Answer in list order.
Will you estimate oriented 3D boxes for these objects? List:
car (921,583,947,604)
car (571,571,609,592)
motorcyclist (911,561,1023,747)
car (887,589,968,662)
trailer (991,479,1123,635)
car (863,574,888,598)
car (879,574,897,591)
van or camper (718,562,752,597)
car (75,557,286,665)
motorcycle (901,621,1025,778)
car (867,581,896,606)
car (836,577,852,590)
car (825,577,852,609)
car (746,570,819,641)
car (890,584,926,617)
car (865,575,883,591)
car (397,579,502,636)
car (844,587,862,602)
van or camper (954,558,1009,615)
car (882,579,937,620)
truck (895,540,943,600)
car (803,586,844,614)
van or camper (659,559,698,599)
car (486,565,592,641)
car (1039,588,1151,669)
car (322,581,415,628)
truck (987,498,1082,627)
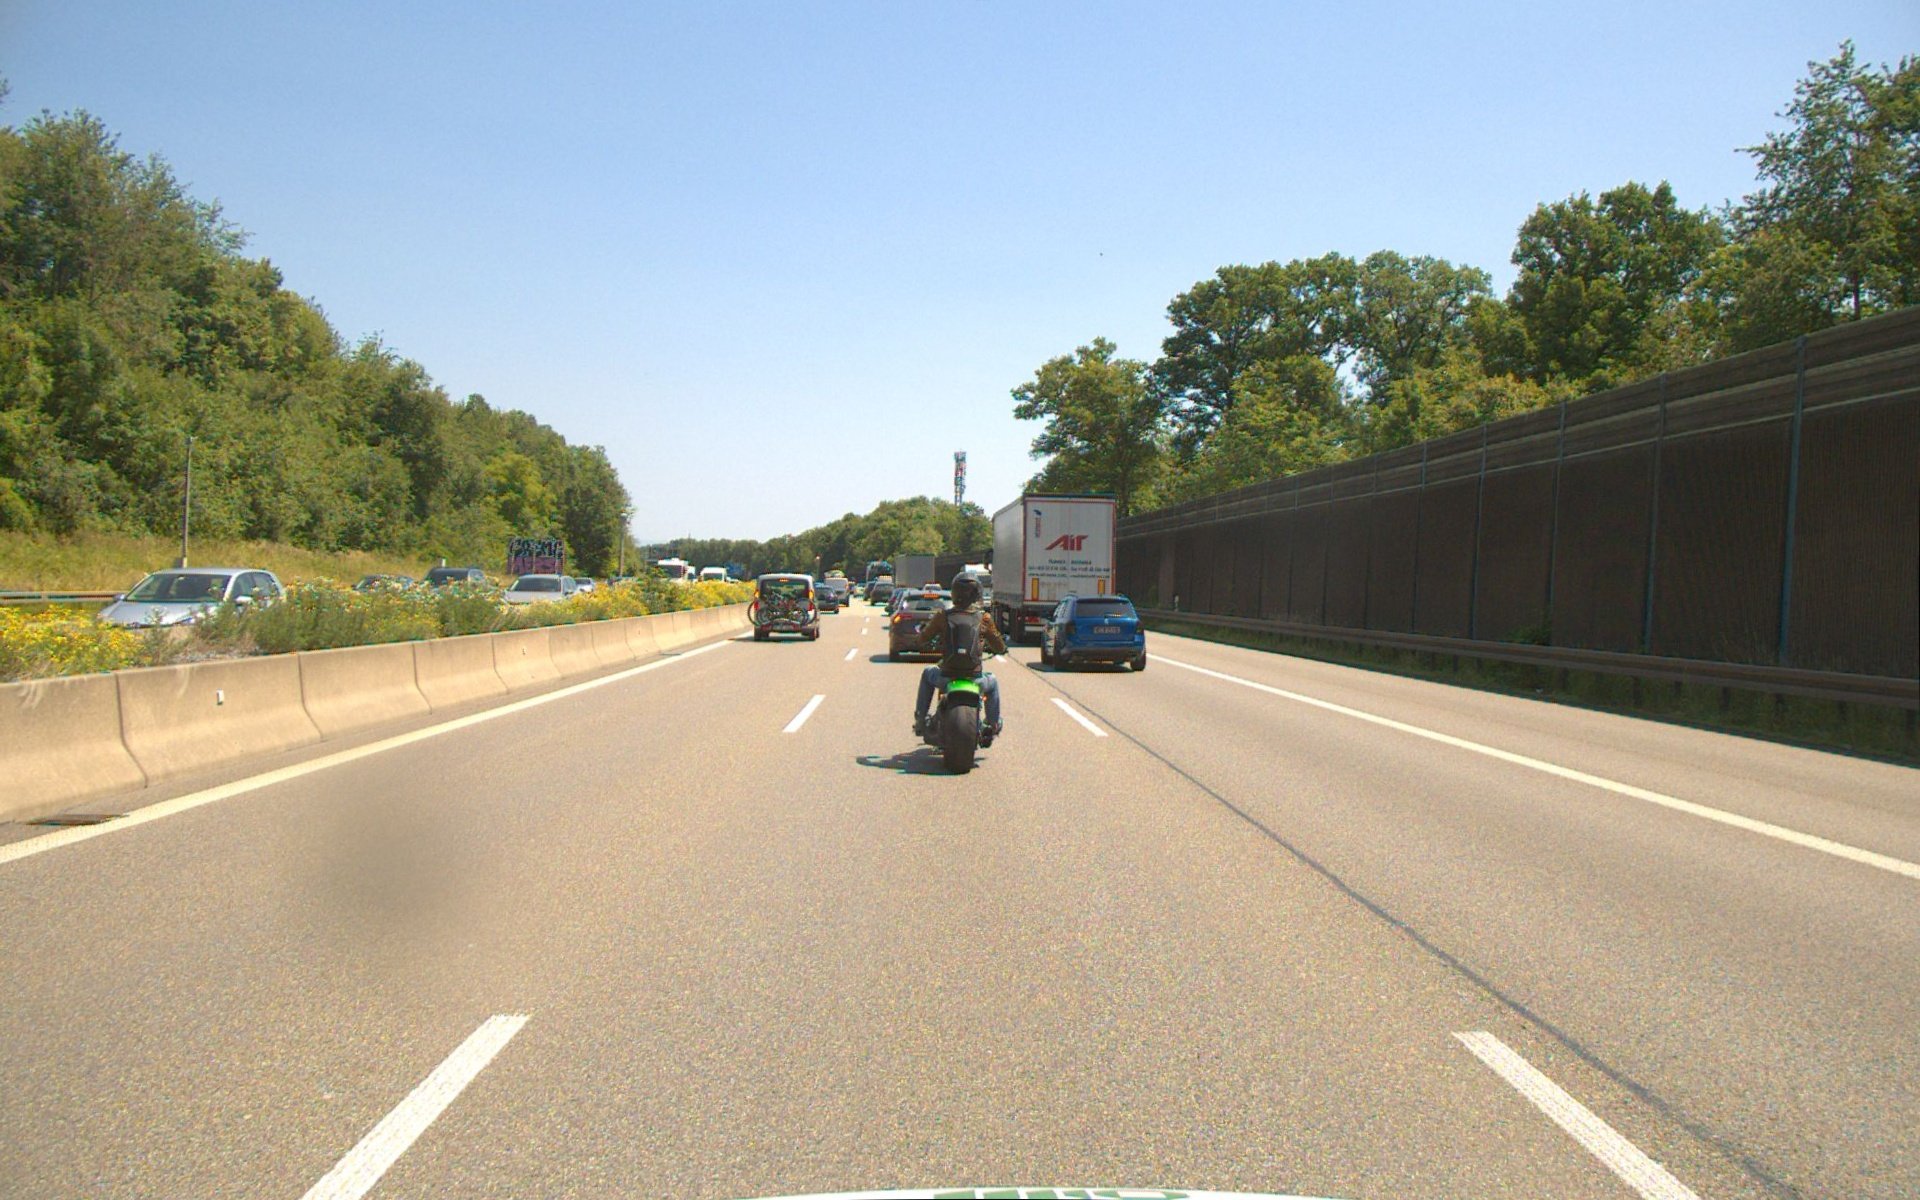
[{"bbox_3d":[-2.099,-0.502,131.106,1.953,1.601,3.998,0,-1,-3],"label":"car"},{"bbox_3d":[-26.265,-1.320,117.367,1.954,1.457,4.189,0,1,-3],"label":"car"},{"bbox_3d":[0.096,0.448,14.382,0.881,1.501,1.872,0,-1,3],"label":"motorcyclist"},{"bbox_3d":[-0.760,0.543,35.863,1.629,1.478,3.866,0,-1,-3],"label":"car"},{"bbox_3d":[2.692,-1.187,50.718,2.827,4.109,13.791,0,0,-2],"label":"trailer"},{"bbox_3d":[-7.354,-1.191,143.962,1.875,2.049,3.684,0,-1,-8],"label":"car"},{"bbox_3d":[-8.621,-2.101,197.181,2.066,1.909,3.996,0,-1,-4],"label":"car"},{"bbox_3d":[-19.249,-1.760,141.835,2.212,2.950,6.554,0,1,-2],"label":"van or camper"},{"bbox_3d":[-11.313,0.167,24.244,1.447,1.467,3.563,0,-1,-1],"label":"car"},{"bbox_3d":[0.079,0.813,14.580,0.944,1.168,2.813,1,1,3],"label":"motorcycle"},{"bbox_3d":[-5.527,-0.462,116.487,1.954,1.669,3.997,0,-1,-4],"label":"car"},{"bbox_3d":[-13.964,-1.977,198.799,1.795,1.522,3.741,0,-1,-2],"label":"car"},{"bbox_3d":[-8.116,-0.432,110.420,1.756,2.049,3.638,0,-1,-5],"label":"car"},{"bbox_3d":[-5.004,0.167,47.050,1.861,1.906,4.409,0,-1,-4],"label":"car"},{"bbox_3d":[-2.556,0.021,82.368,1.743,1.579,3.584,1,1,-2],"label":"car"},{"bbox_3d":[-10.544,-2.061,202.700,2.066,1.909,3.996,0,-1,-4],"label":"car"},{"bbox_3d":[-15.264,0.230,49.690,1.953,1.618,4.161,0,-1,-2],"label":"car"},{"bbox_3d":[-10.998,-0.578,170.618,1.796,1.522,3.741,0,-1,-3],"label":"car"},{"bbox_3d":[1.067,-0.625,87.003,2.631,2.862,6.801,0,-1,-1],"label":"van or camper"},{"bbox_3d":[-1.846,-0.003,60.583,1.953,1.455,3.845,0,-1,-2],"label":"car"},{"bbox_3d":[-3.688,-2.573,147.366,3.728,5.046,8.941,0,-1,-5],"label":"truck"},{"bbox_3d":[-7.099,0.002,86.454,1.953,1.411,3.998,0,-1,-2],"label":"car"},{"bbox_3d":[-25.812,-1.874,151.914,2.489,3.375,8.997,0,-1,-3],"label":"van or camper"},{"bbox_3d":[-11.883,0.100,46.953,1.952,2.049,4.000,0,-1,0],"label":"car"},{"bbox_3d":[2.657,0.561,33.440,1.618,1.508,4.478,0,-1,-4],"label":"car"},{"bbox_3d":[-19.721,0.170,55.281,1.752,1.482,3.998,0,-1,-2],"label":"car"},{"bbox_3d":[2.509,-1.263,57.556,2.827,4.218,5.984,0,0,-2],"label":"truck"}]
